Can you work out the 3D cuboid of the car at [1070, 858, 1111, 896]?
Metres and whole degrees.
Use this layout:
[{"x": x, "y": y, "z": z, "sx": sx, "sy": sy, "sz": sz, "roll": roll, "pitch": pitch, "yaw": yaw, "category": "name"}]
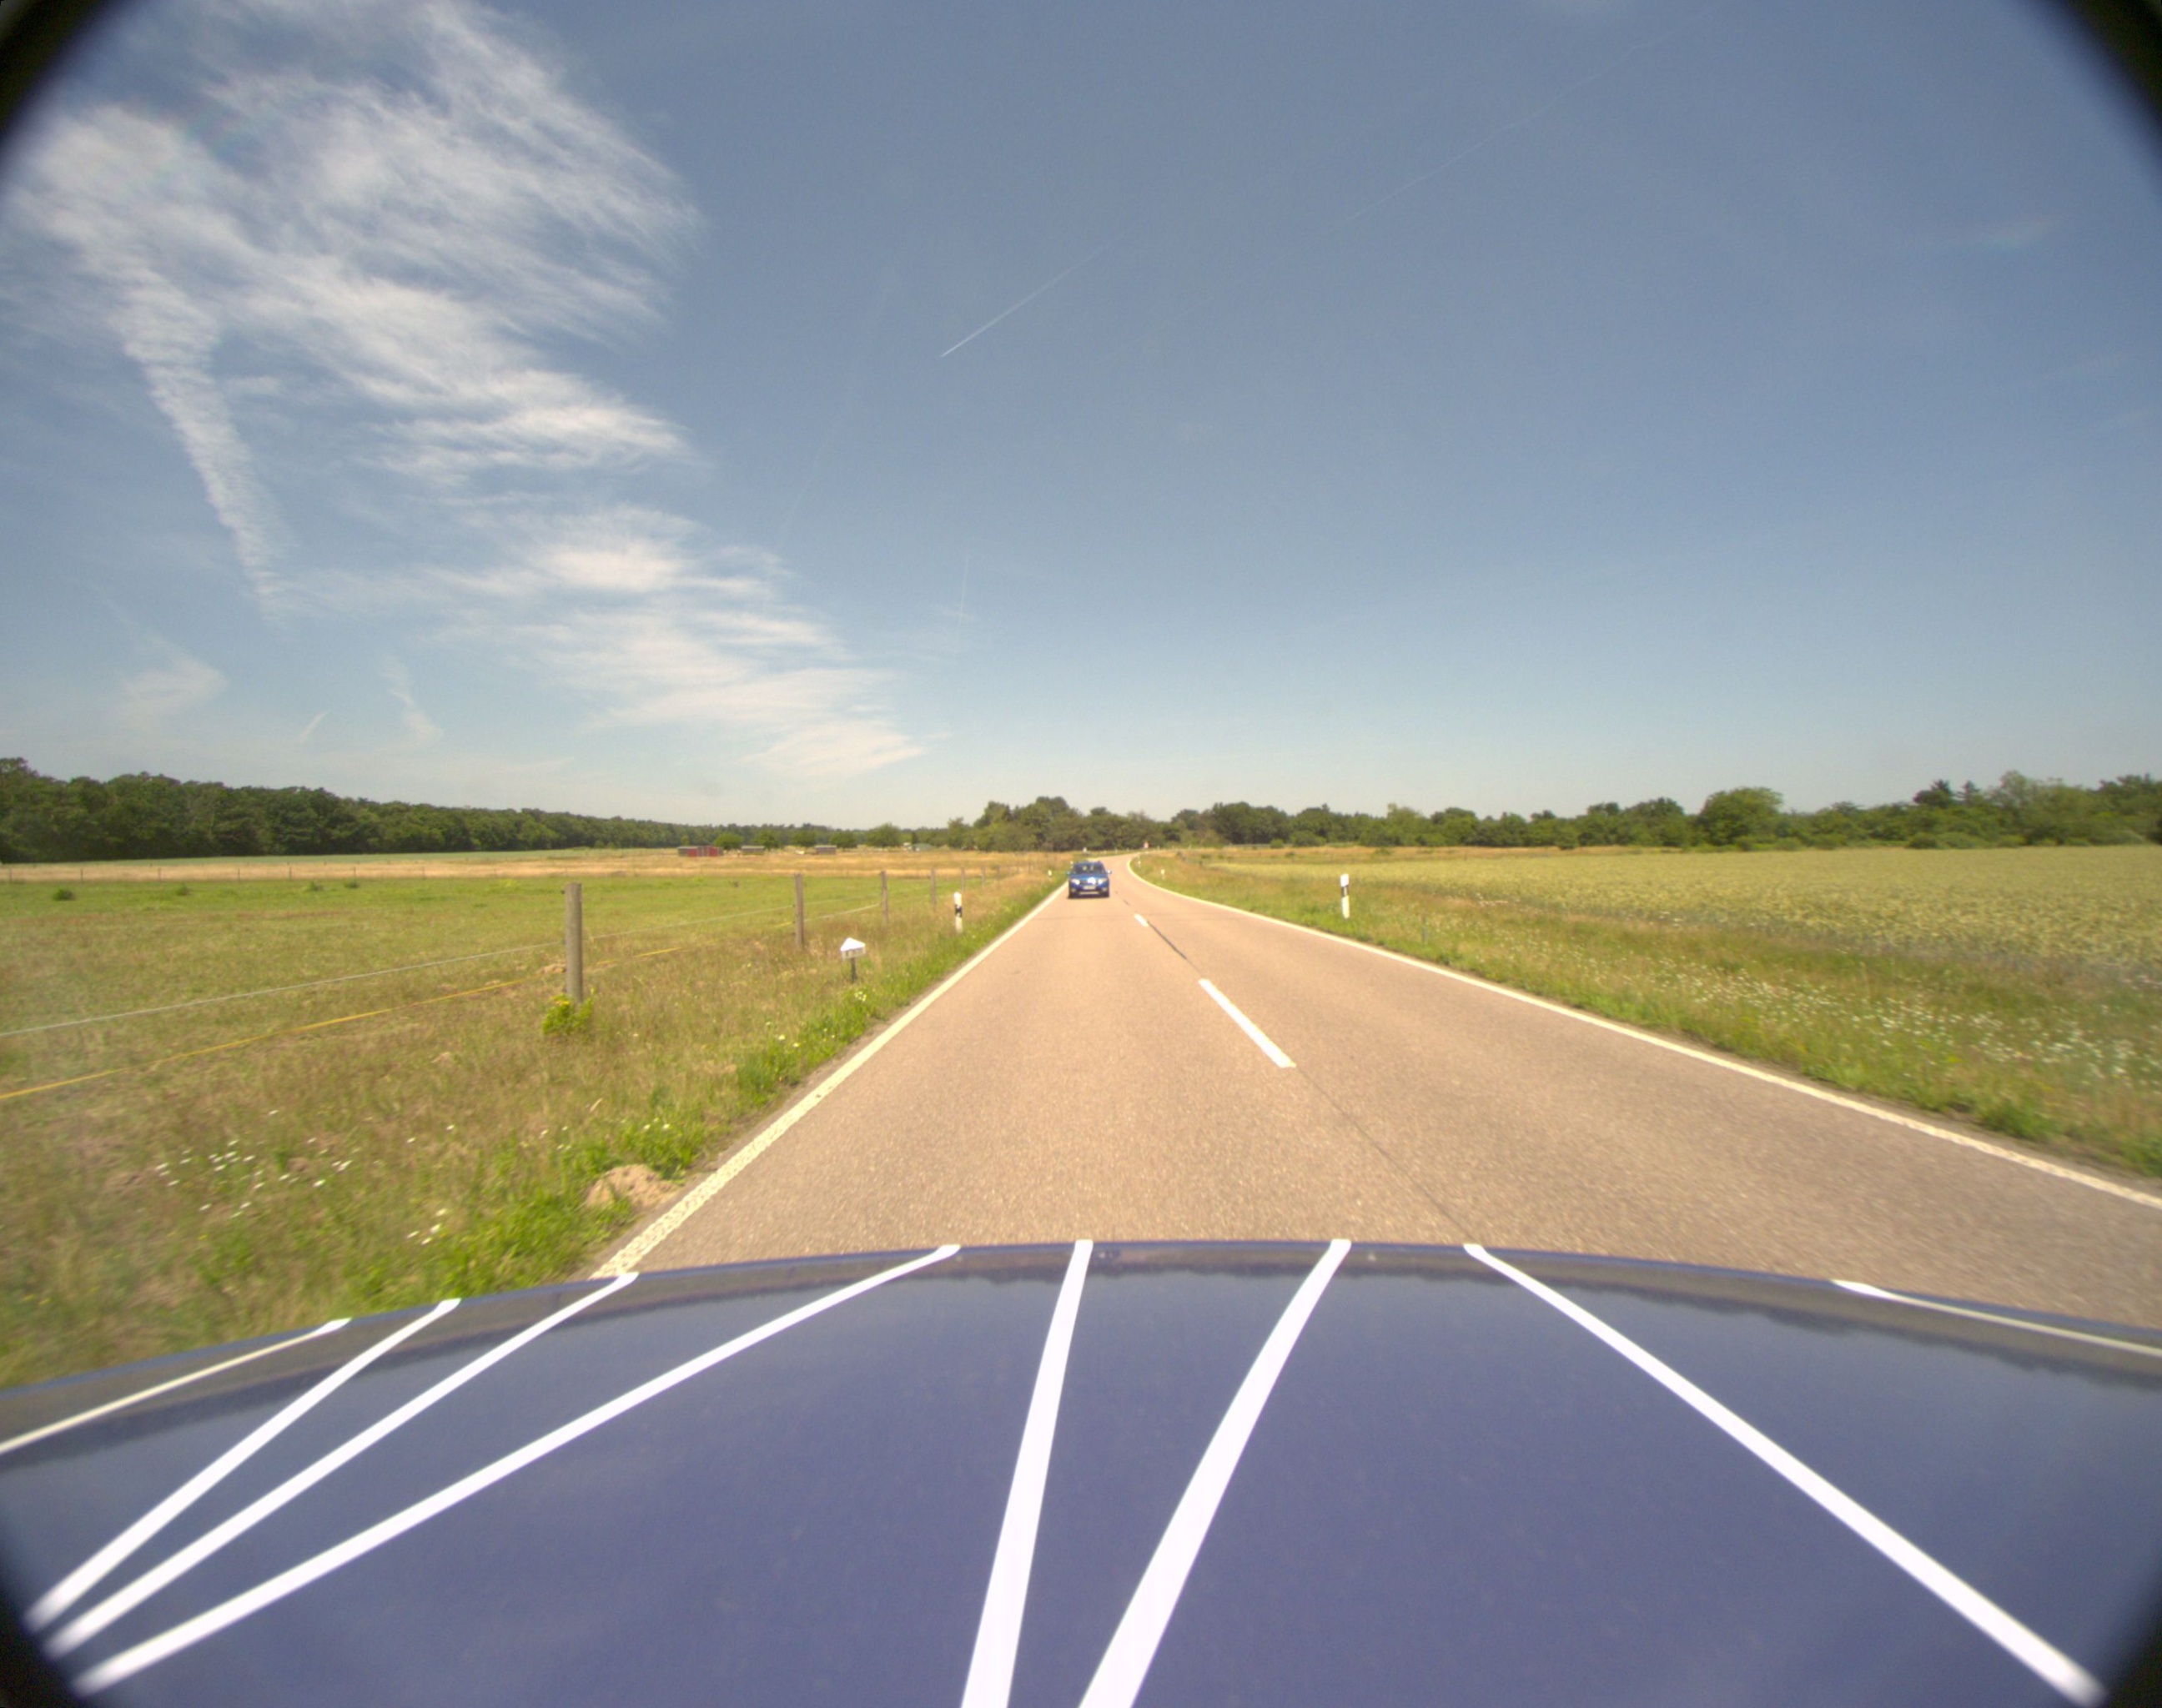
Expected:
[{"x": 0.429, "y": 1.011, "z": 35.361, "sx": 1.734, "sy": 1.572, "sz": 4.000, "roll": -3, "pitch": 0, "yaw": 1, "category": "car"}]
